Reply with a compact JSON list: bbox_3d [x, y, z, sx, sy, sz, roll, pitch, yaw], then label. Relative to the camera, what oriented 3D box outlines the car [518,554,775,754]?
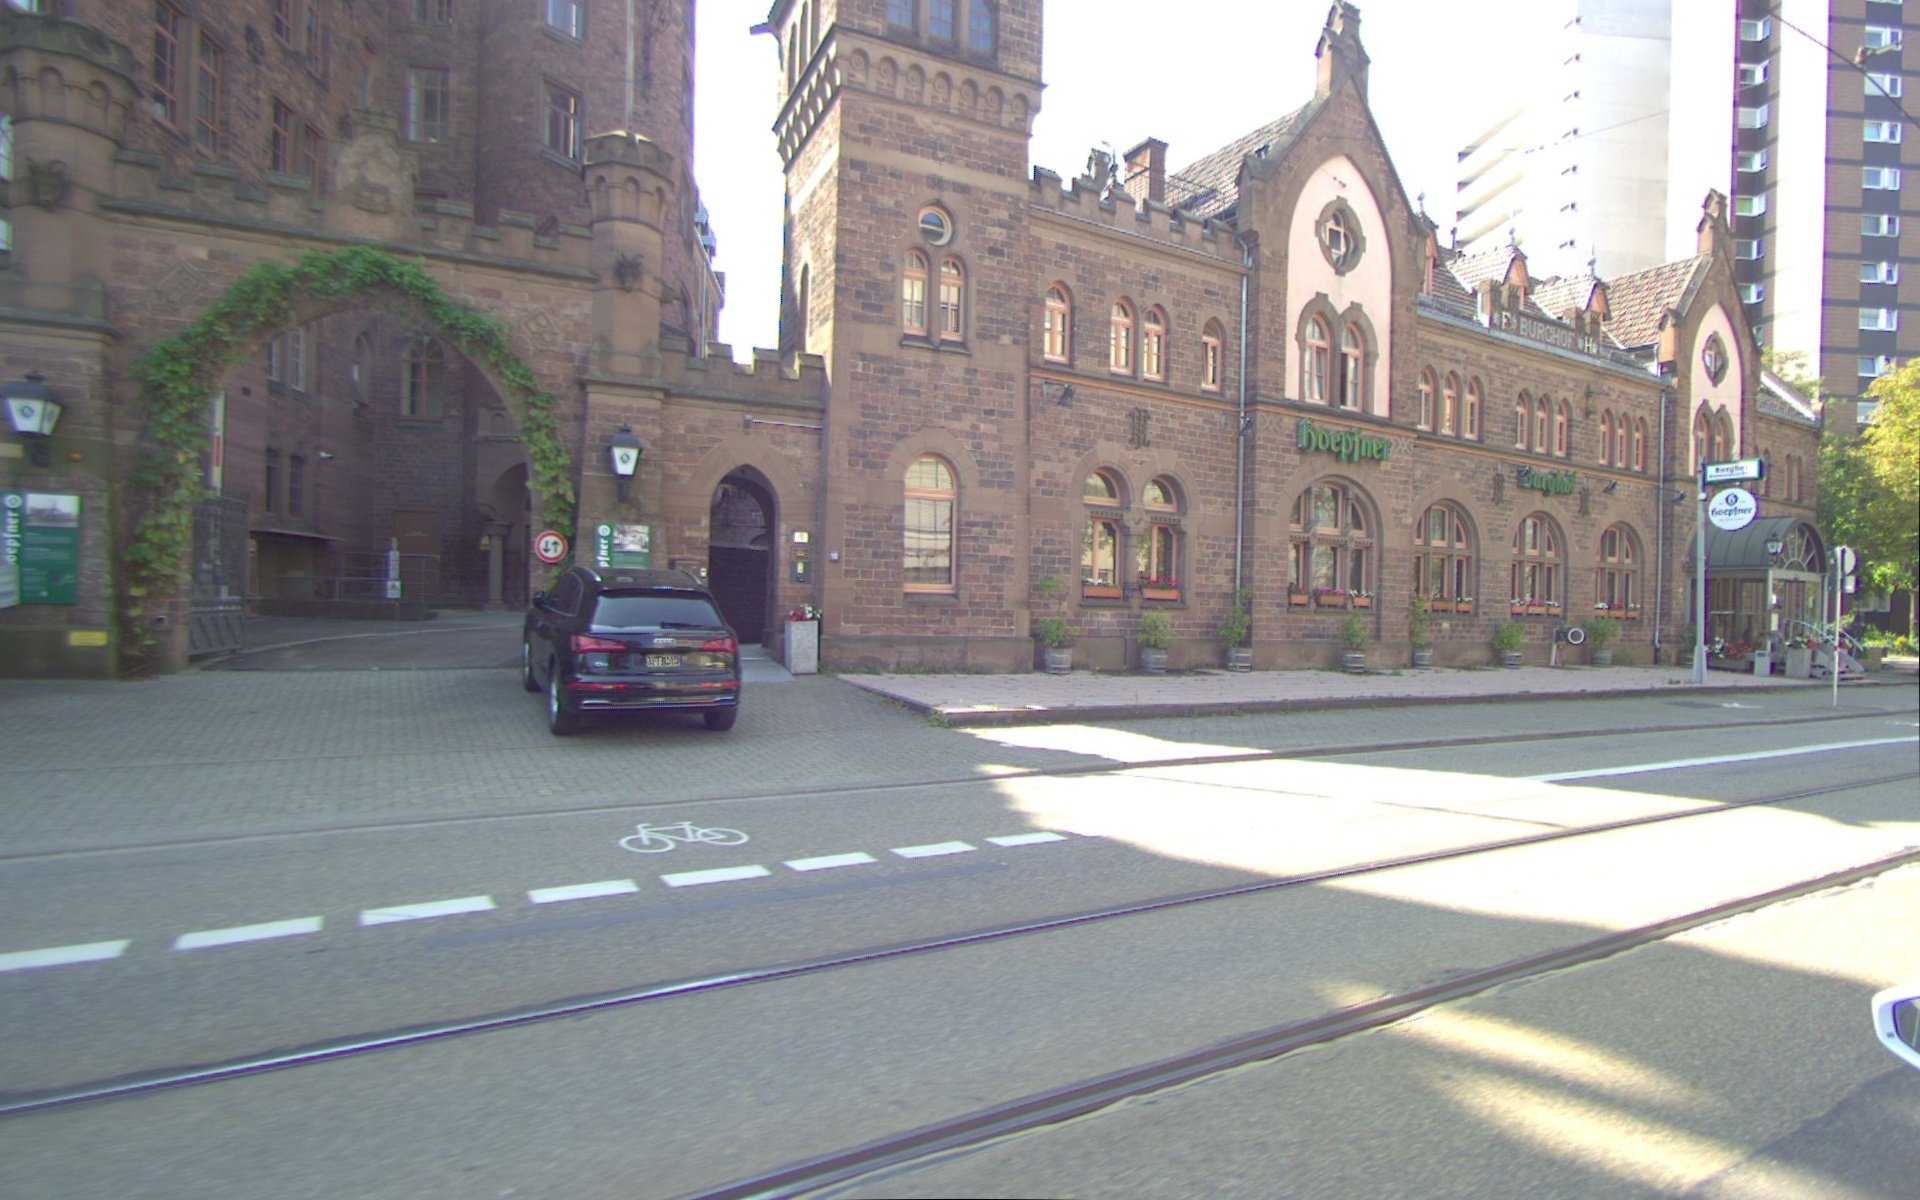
[{"bbox_3d":[-3.761,0.444,11.497,1.976,1.767,4.116,2,2,-29],"label":"car"}]

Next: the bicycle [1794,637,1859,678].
[{"bbox_3d":[27.381,1.802,31.766,0.395,1.108,1.441,2,3,-34],"label":"bicycle"}]

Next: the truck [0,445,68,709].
[{"bbox_3d":[-9.682,-0.151,7.986,2.102,2.573,6.300,0,3,-25],"label":"truck"}]

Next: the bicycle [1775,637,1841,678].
[{"bbox_3d":[26.079,1.756,30.909,0.395,1.108,1.441,2,3,-34],"label":"bicycle"}]
